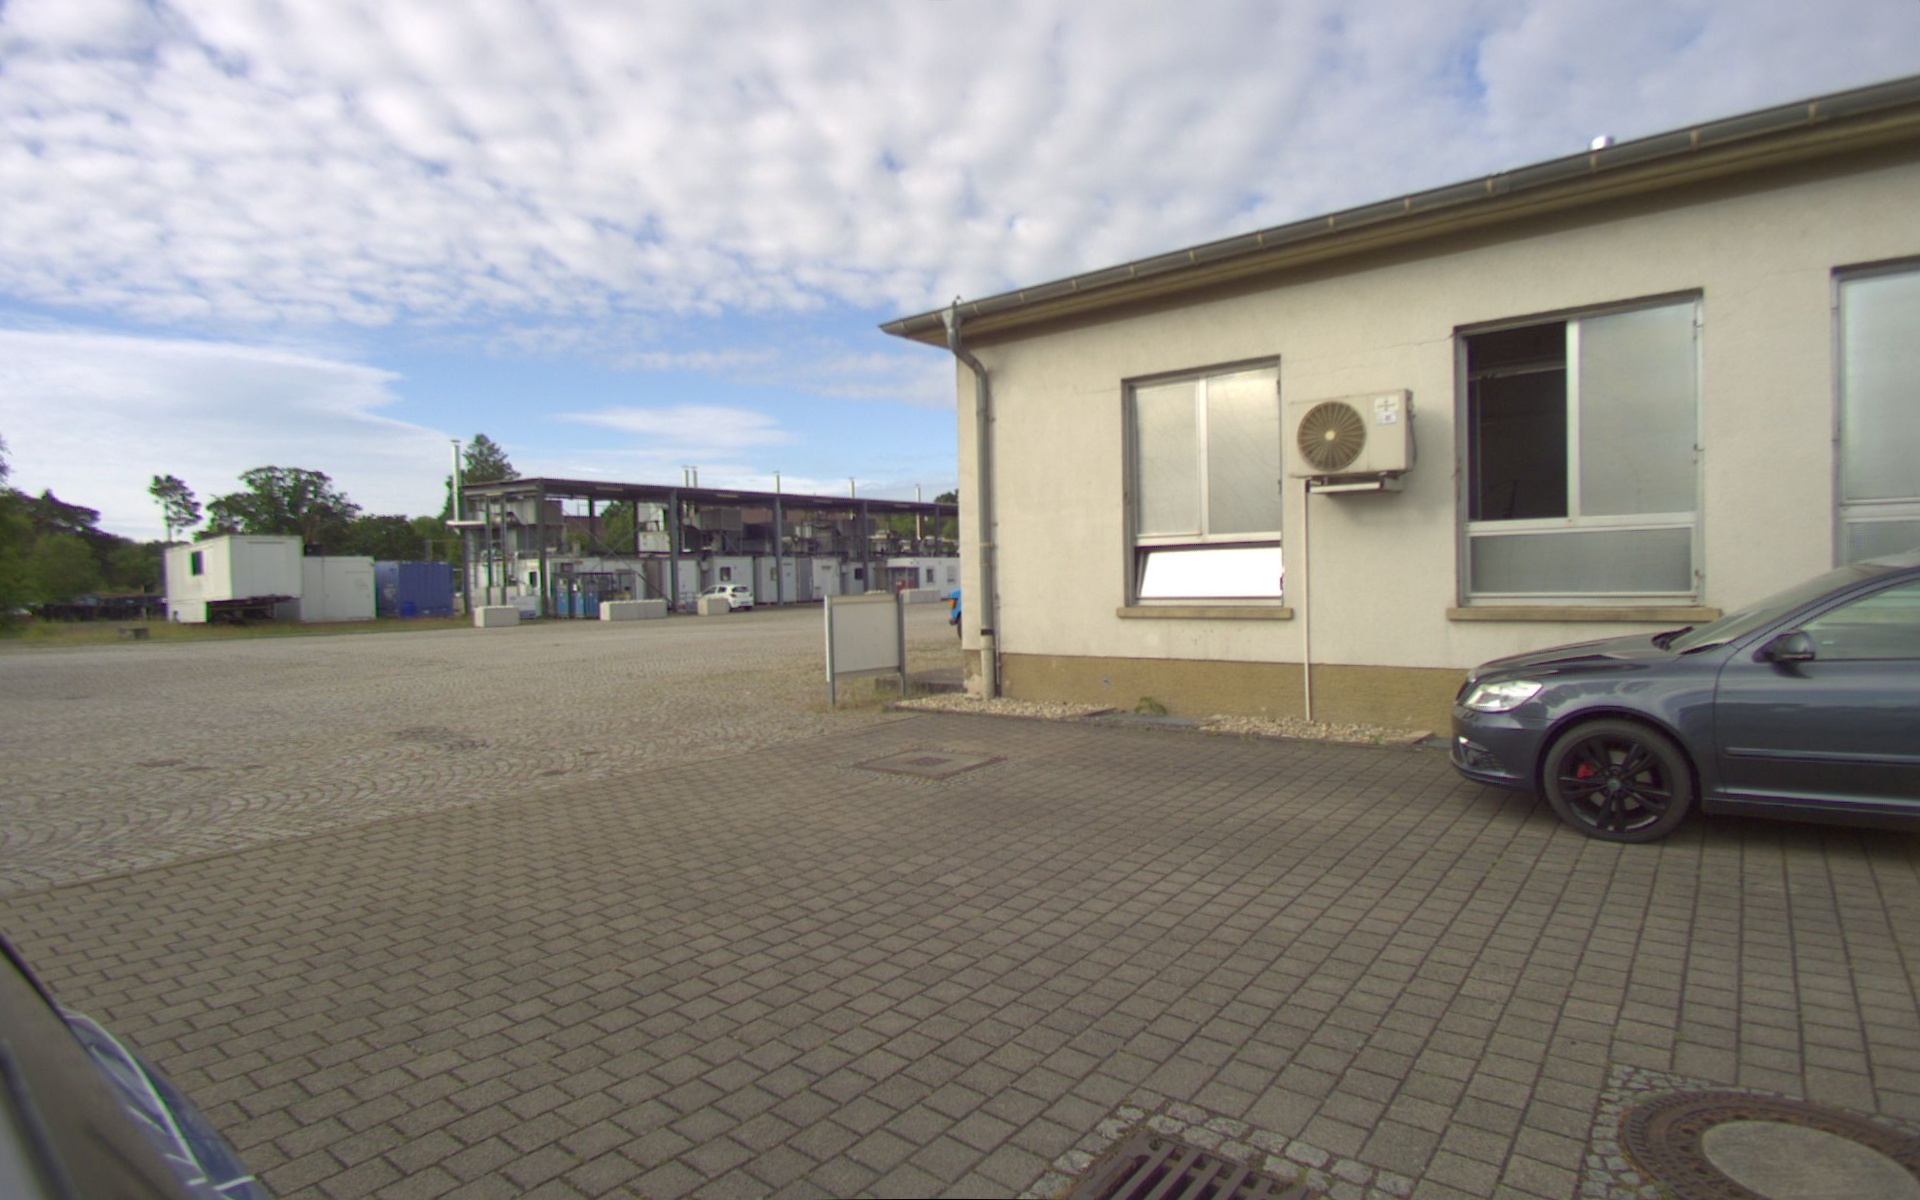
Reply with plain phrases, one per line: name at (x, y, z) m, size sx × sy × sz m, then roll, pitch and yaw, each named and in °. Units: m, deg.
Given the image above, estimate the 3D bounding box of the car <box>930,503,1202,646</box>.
car at (2.054, -0.422, 20.922) m, size 5.395 × 2.602 × 1.973 m, roll -2°, pitch 0°, yaw 42°

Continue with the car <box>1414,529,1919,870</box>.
car at (4.996, 0.396, 4.883) m, size 4.803 × 1.472 × 1.907 m, roll -1°, pitch 1°, yaw 38°

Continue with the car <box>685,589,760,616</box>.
car at (-13.080, 0.146, 55.761) m, size 3.992 × 1.484 × 1.911 m, roll 0°, pitch 0°, yaw 36°

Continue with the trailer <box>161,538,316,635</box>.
trailer at (-30.929, -0.496, 43.117) m, size 10.771 × 3.689 × 2.839 m, roll -1°, pitch 1°, yaw 41°
